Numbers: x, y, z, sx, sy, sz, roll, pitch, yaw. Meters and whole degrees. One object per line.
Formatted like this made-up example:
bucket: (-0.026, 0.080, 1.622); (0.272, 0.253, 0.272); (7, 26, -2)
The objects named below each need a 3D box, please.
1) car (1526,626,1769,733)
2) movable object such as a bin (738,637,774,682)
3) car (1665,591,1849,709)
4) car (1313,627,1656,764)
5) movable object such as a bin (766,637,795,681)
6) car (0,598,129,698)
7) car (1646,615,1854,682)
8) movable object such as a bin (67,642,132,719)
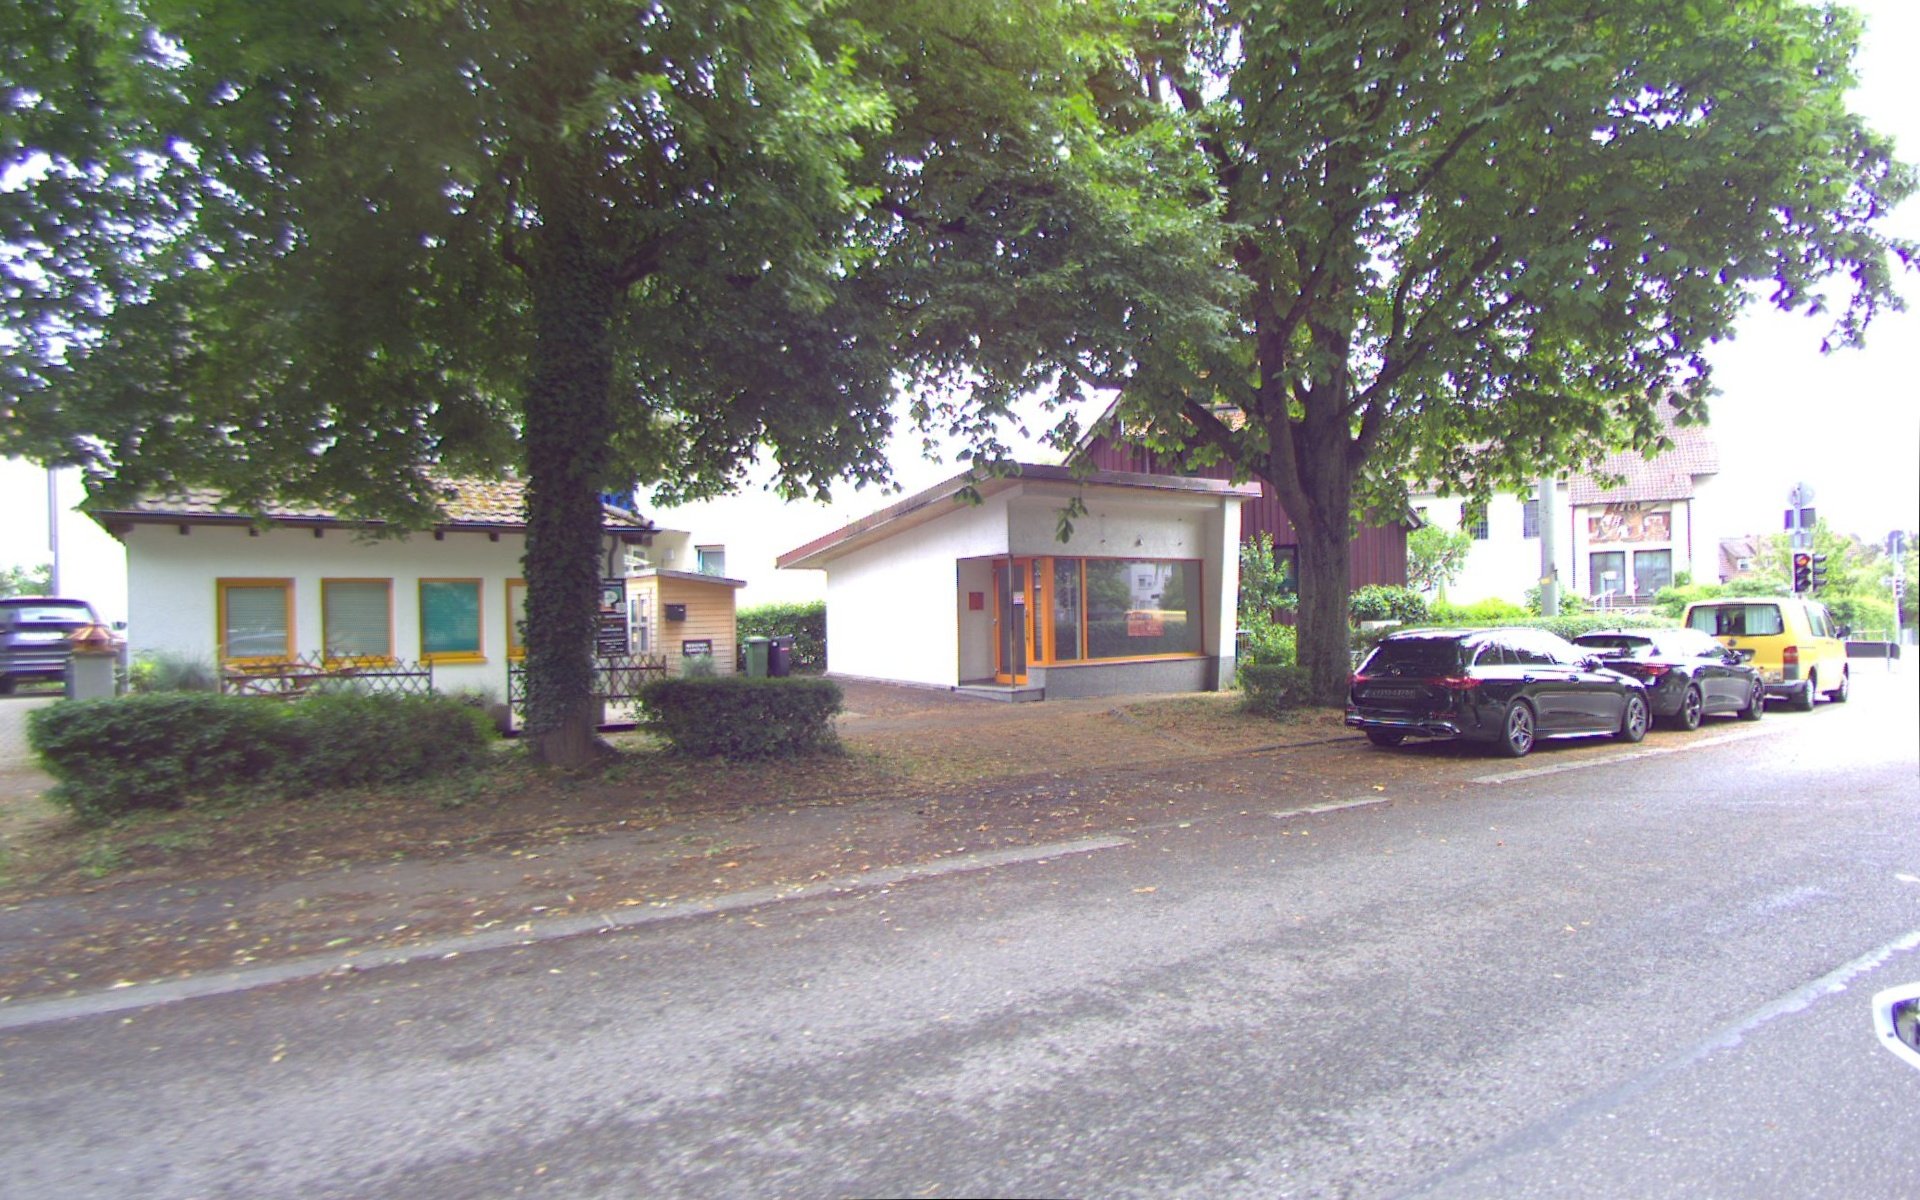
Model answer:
car: (10.749, 1.147, 15.623); (4.148, 1.434, 1.783); (1, -2, -35)
movable object such as a bin: (-4.438, 1.293, 21.885); (0.612, 0.942, 0.519); (0, 0, -35)
car: (15.181, 0.918, 19.053); (4.467, 1.989, 1.842); (2, -3, -40)
car: (6.631, 1.071, 12.550); (4.506, 1.429, 1.881); (1, -3, -34)
movable object such as a bin: (-3.967, 1.293, 22.194); (0.483, 0.942, 0.519); (0, 0, -35)
car: (-15.621, 0.745, 17.337); (1.718, 1.530, 3.959); (1, 0, -36)
car: (20.424, 1.214, 26.110); (1.784, 1.530, 3.955); (-2, 0, -39)
movable object such as a bin: (-11.040, 1.024, 12.898); (0.568, 0.935, 0.484); (0, 1, -32)
